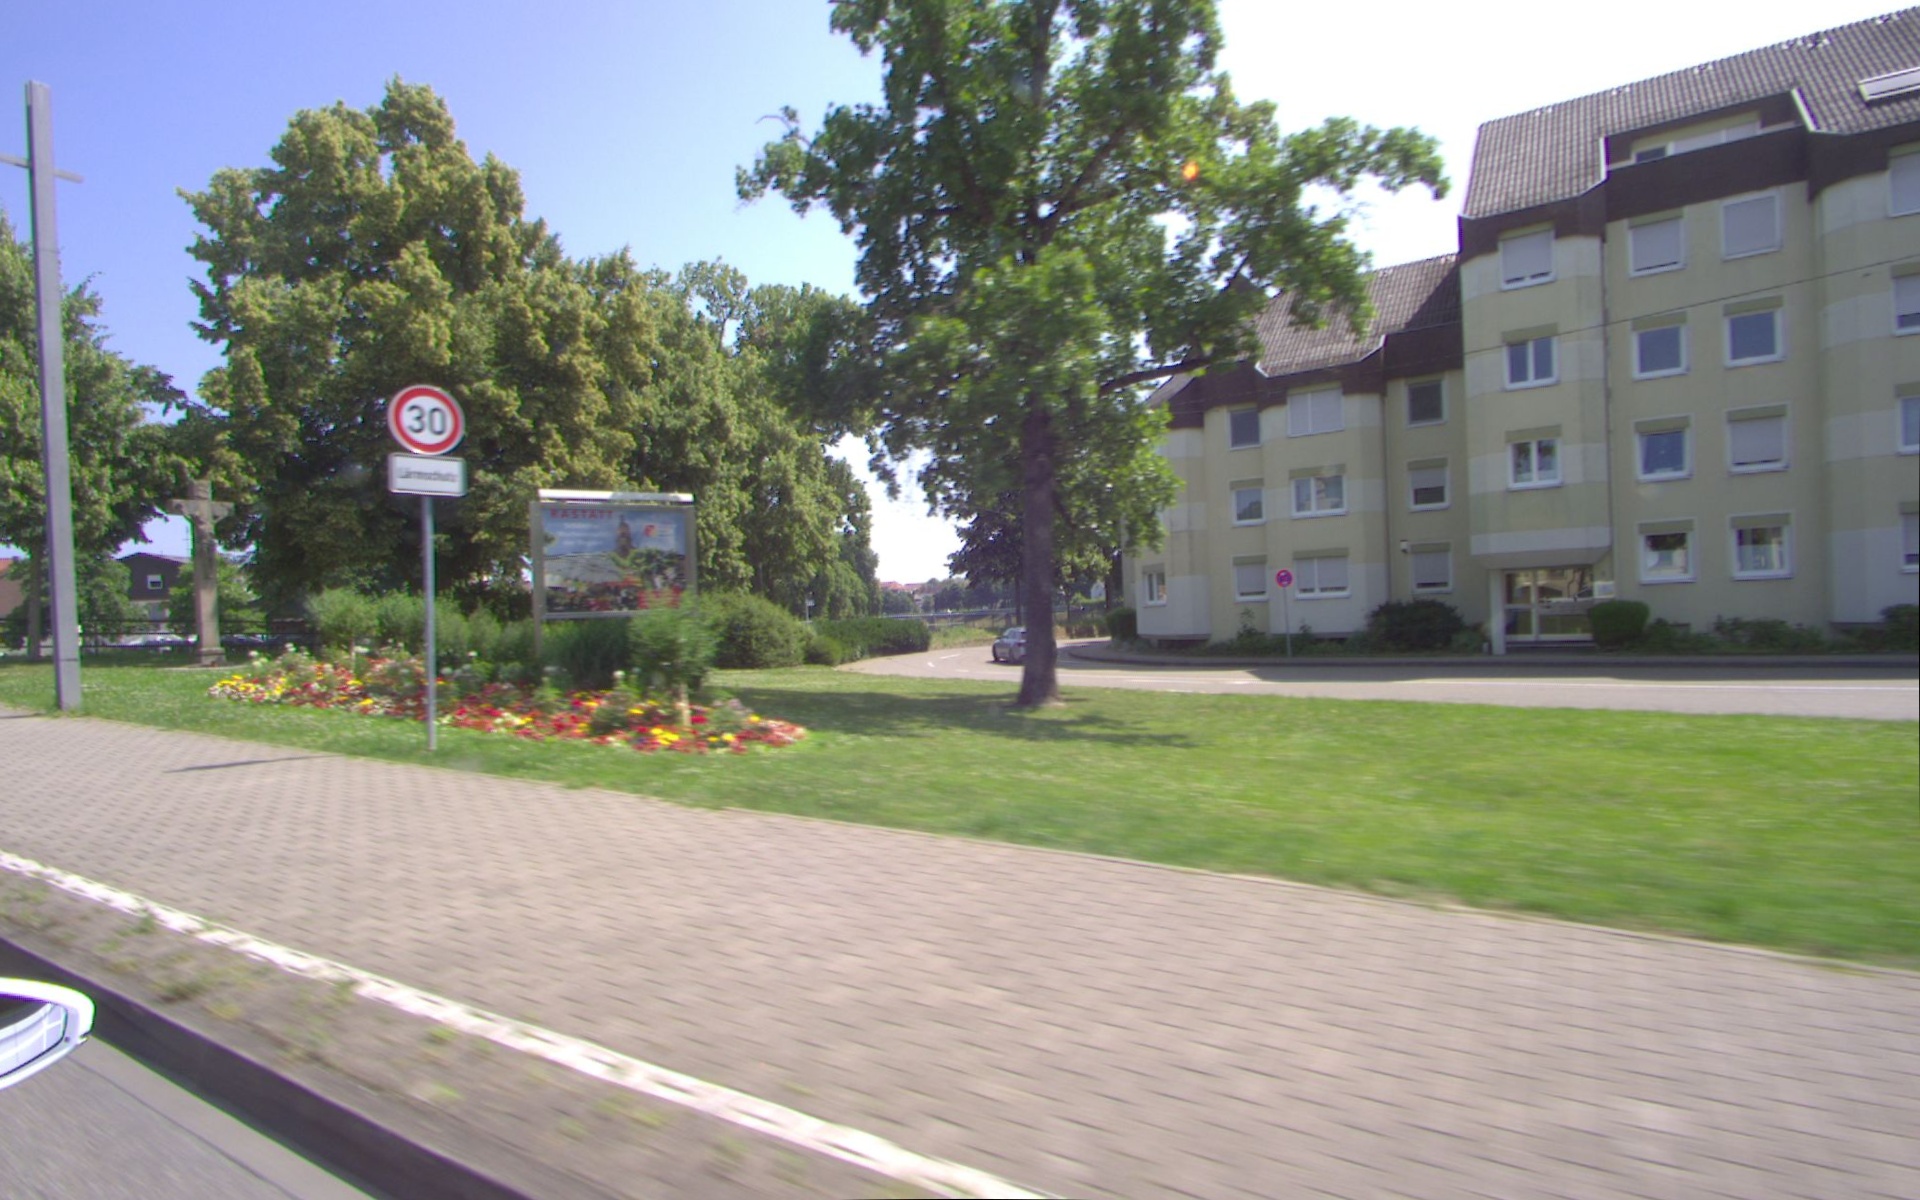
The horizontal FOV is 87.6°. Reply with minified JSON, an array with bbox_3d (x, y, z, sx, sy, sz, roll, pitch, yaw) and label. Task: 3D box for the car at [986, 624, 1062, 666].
[{"bbox_3d":[2.470,1.783,40.067,1.864,1.518,4.528,-1,-2,-12],"label":"car"}]
